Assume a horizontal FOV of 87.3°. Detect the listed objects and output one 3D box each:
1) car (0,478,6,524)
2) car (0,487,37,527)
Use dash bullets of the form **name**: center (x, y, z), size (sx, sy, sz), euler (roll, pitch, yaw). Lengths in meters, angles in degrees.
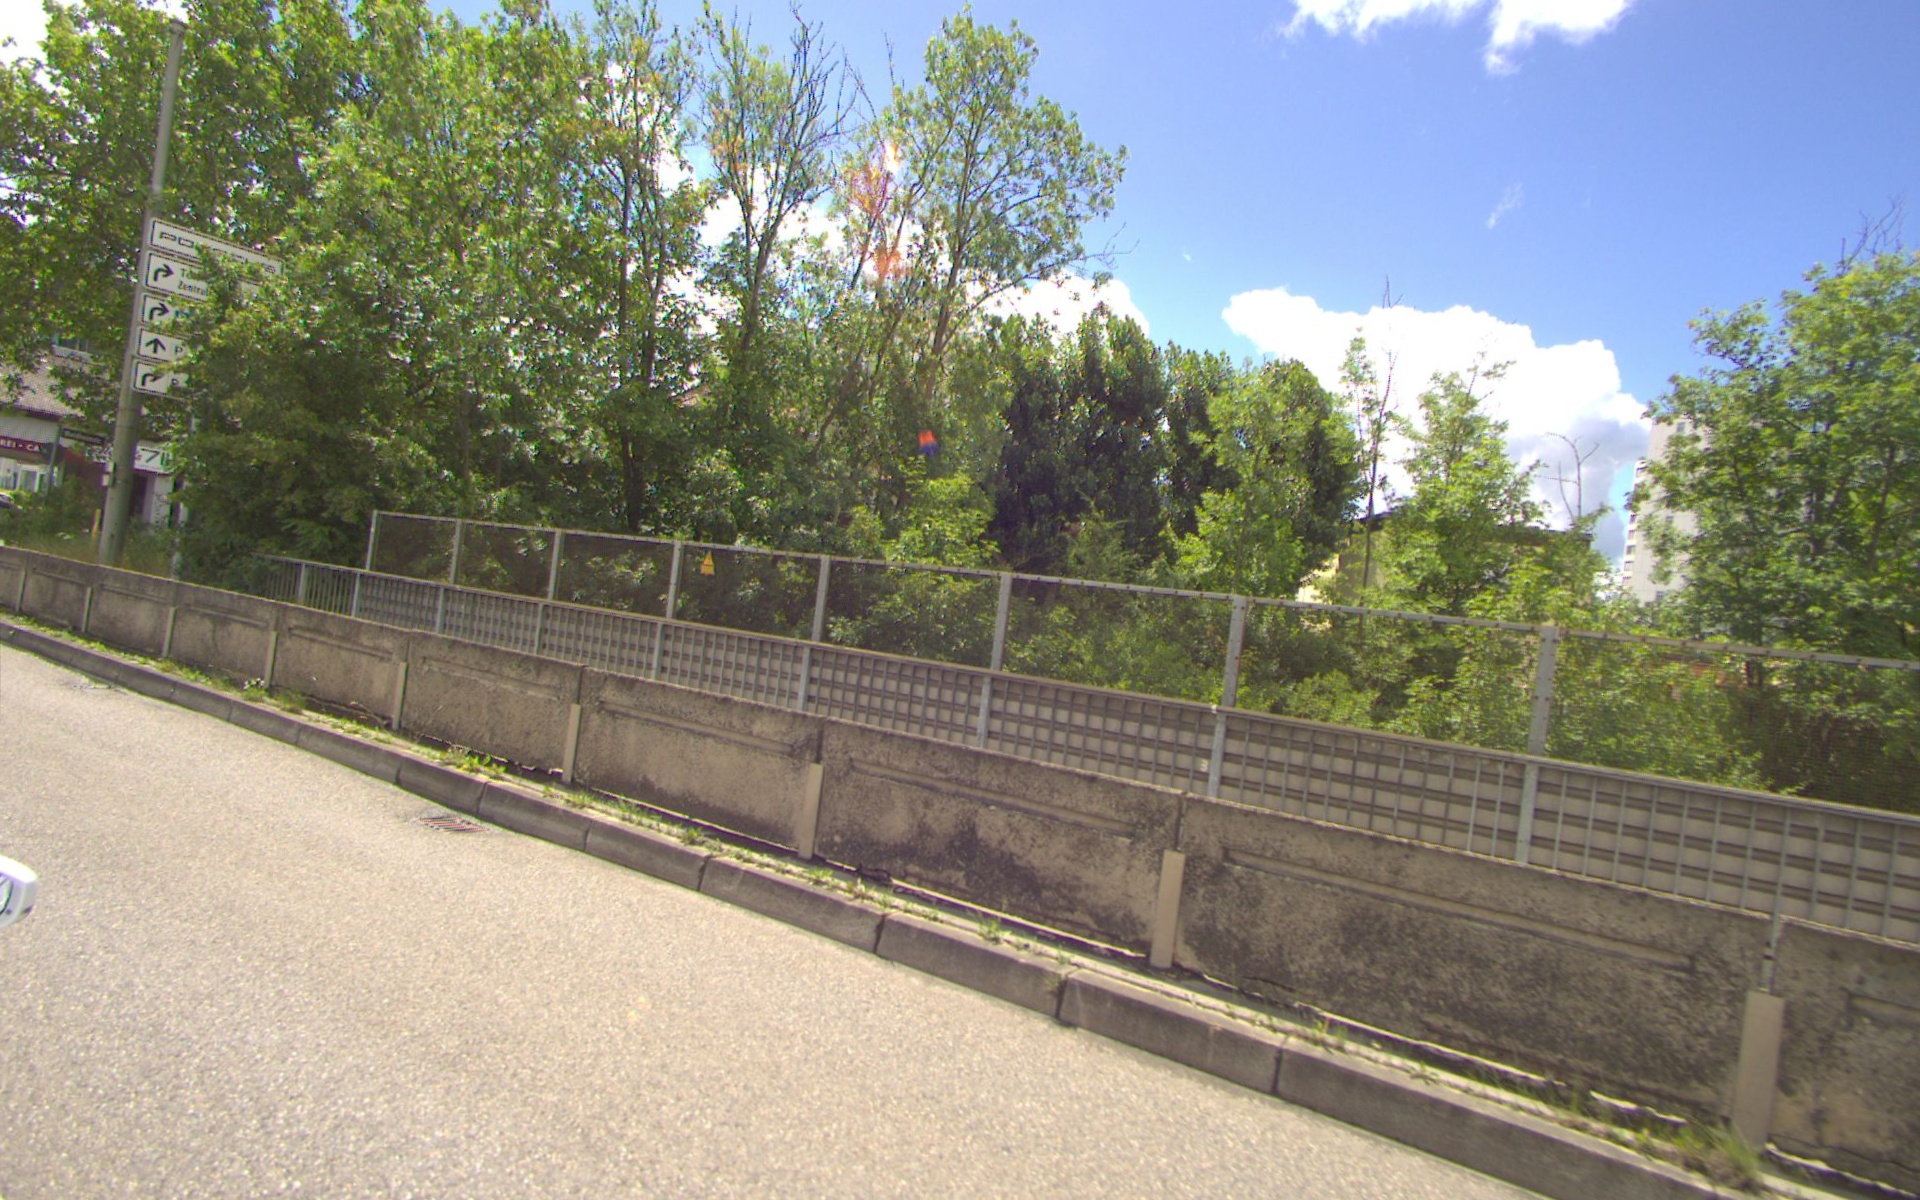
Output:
- **car**: center (-43.336, -4.479, 42.326), size (1.996, 1.961, 4.232), euler (6, 1, 33)
- **car**: center (-40.700, -3.991, 40.891), size (1.816, 1.532, 4.302), euler (5, 0, 32)
